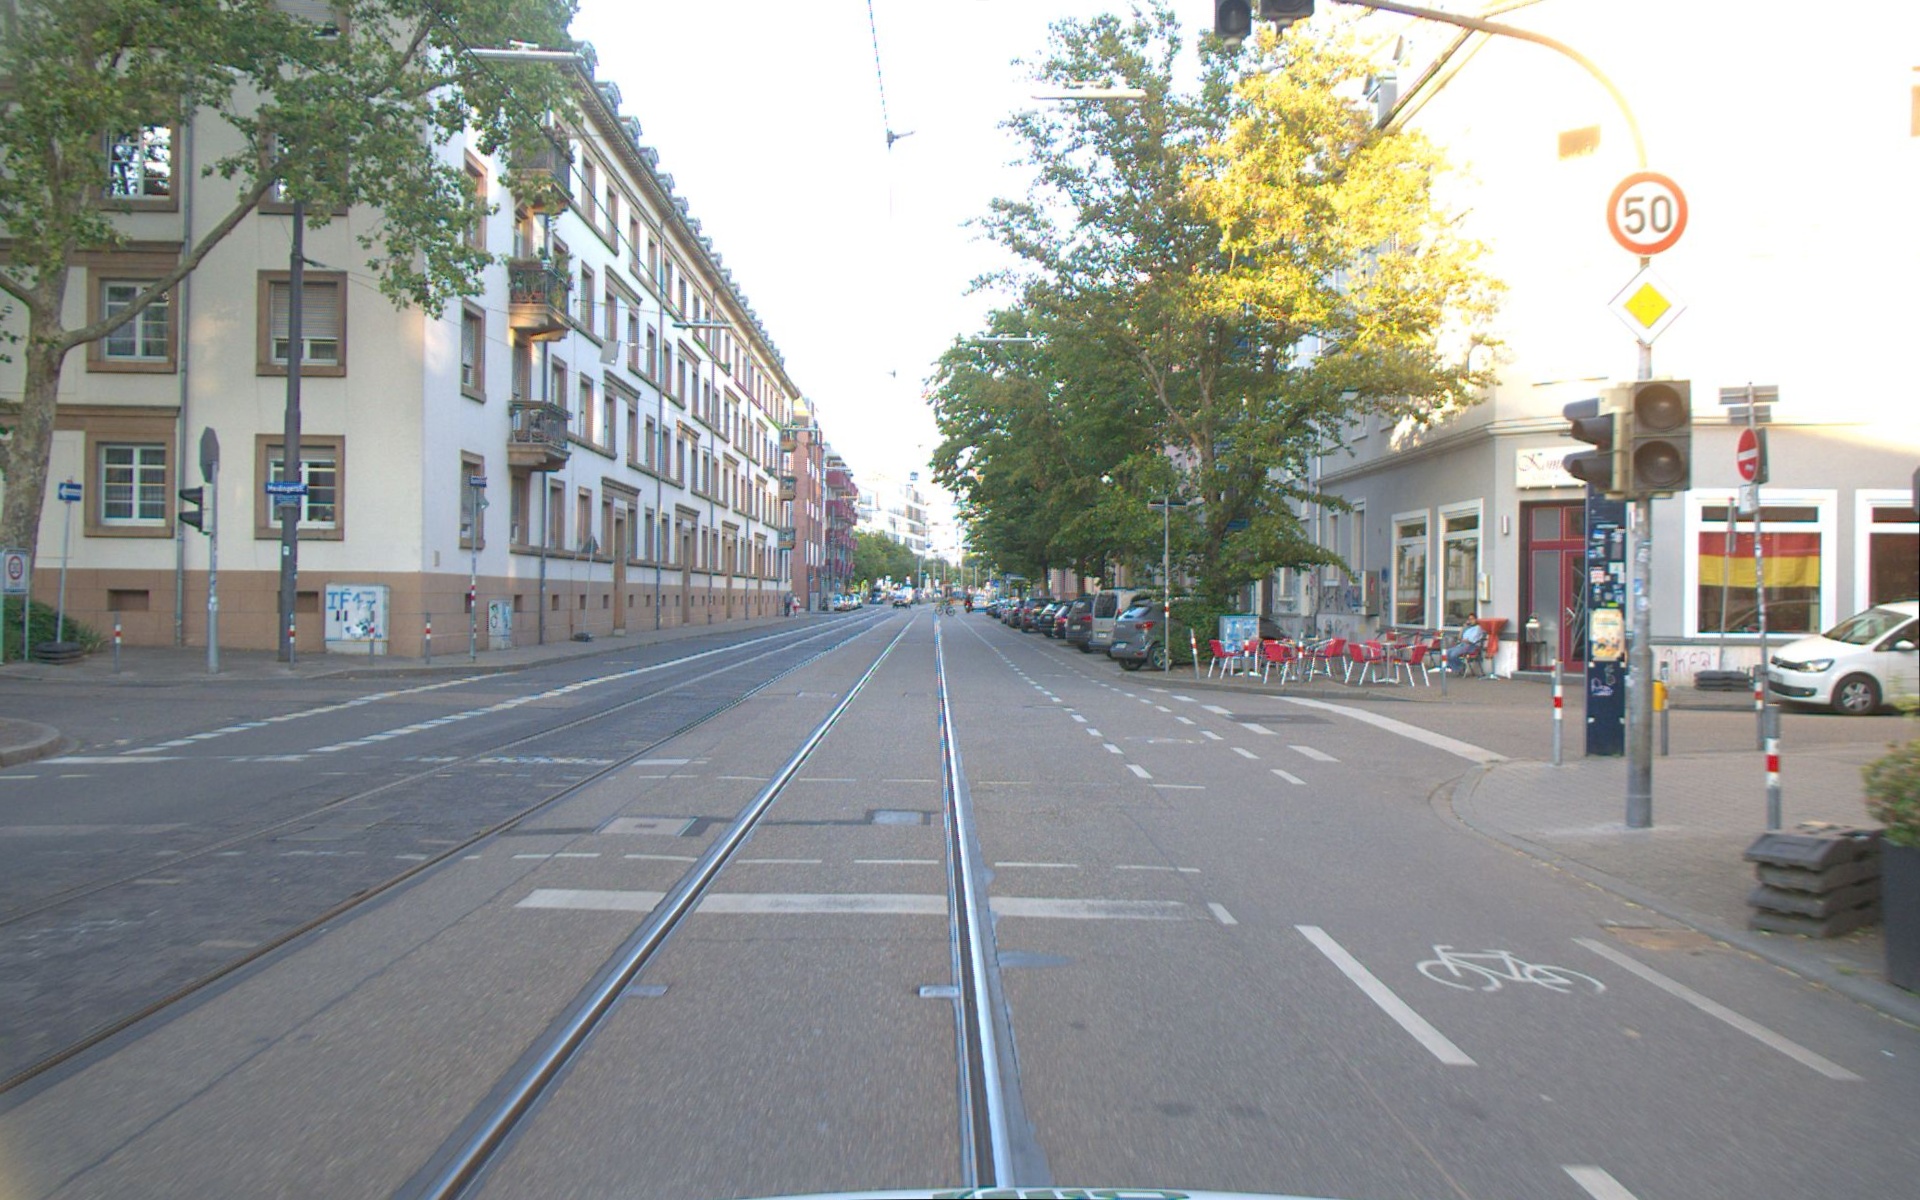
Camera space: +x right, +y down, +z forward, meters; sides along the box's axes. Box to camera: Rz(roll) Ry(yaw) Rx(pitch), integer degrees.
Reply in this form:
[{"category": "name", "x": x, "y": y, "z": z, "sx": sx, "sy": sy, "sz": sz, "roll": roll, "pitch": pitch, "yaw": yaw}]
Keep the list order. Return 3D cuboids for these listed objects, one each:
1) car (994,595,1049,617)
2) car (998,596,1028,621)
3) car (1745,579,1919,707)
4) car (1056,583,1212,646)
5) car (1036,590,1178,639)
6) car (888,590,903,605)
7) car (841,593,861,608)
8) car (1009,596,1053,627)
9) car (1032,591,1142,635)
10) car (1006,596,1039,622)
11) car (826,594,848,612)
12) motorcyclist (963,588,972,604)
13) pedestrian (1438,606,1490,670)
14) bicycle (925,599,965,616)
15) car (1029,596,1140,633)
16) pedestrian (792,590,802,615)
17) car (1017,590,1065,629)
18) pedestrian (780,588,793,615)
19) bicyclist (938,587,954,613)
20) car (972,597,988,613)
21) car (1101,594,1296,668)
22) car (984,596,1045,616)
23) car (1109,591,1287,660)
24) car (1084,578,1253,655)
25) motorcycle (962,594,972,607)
[{"category": "car", "x": 4.395, "y": 0.404, "z": 117.945, "sx": 3.512, "sy": 1.543, "sz": 1.729, "roll": -1, "pitch": 0, "yaw": -26}, {"category": "car", "x": 3.114, "y": 0.488, "z": 97.676, "sx": 1.586, "sy": 1.405, "sz": 3.775, "roll": -1, "pitch": 0, "yaw": -1}, {"category": "car", "x": 14.733, "y": 0.671, "z": 25.604, "sx": 4.231, "sy": 1.873, "sz": 1.908, "roll": 1, "pitch": 0, "yaw": 4}, {"category": "car", "x": 5.003, "y": 0.396, "z": 47.554, "sx": 4.121, "sy": 1.726, "sz": 1.834, "roll": -1, "pitch": 1, "yaw": -23}, {"category": "car", "x": 4.763, "y": 0.450, "z": 53.687, "sx": 4.310, "sy": 1.489, "sz": 1.711, "roll": -1, "pitch": 1, "yaw": -19}, {"category": "car", "x": -7.224, "y": -0.312, "z": 184.966, "sx": 1.528, "sy": 1.585, "sz": 3.753, "roll": -1, "pitch": 0, "yaw": -3}, {"category": "car", "x": -11.297, "y": 0.083, "z": 171.739, "sx": 1.656, "sy": 1.438, "sz": 4.677, "roll": 2, "pitch": 0, "yaw": 1}, {"category": "car", "x": 3.586, "y": 0.563, "z": 84.437, "sx": 1.953, "sy": 1.515, "sz": 5.035, "roll": 0, "pitch": 0, "yaw": 0}, {"category": "car", "x": 4.866, "y": 0.463, "z": 63.472, "sx": 3.900, "sy": 1.580, "sz": 1.711, "roll": -1, "pitch": 1, "yaw": -19}, {"category": "car", "x": 3.457, "y": 0.486, "z": 92.060, "sx": 1.743, "sy": 1.405, "sz": 4.691, "roll": -1, "pitch": 0, "yaw": 1}, {"category": "car", "x": -11.261, "y": 0.278, "z": 151.930, "sx": 1.682, "sy": 1.583, "sz": 4.203, "roll": 2, "pitch": 0, "yaw": 0}, {"category": "motorcyclist", "x": 0.672, "y": -0.387, "z": 154.259, "sx": 0.811, "sy": 1.499, "sz": 1.207, "roll": 0, "pitch": 0, "yaw": 1}, {"category": "pedestrian", "x": 9.510, "y": 0.711, "z": 31.201, "sx": 0.641, "sy": 1.175, "sz": 0.686, "roll": 1, "pitch": 0, "yaw": -25}, {"category": "bicycle", "x": -1.179, "y": 0.603, "z": 132.593, "sx": 3.112, "sy": 1.378, "sz": 0.955, "roll": 0, "pitch": 0, "yaw": -10}, {"category": "car", "x": 4.990, "y": 0.572, "z": 66.095, "sx": 4.198, "sy": 1.412, "sz": 1.607, "roll": 1, "pitch": 0, "yaw": -27}, {"category": "pedestrian", "x": -10.600, "y": 0.162, "z": 107.443, "sx": 0.579, "sy": 1.638, "sz": 0.811, "roll": 1, "pitch": 0, "yaw": -3}, {"category": "car", "x": 3.667, "y": 0.409, "z": 75.279, "sx": 1.841, "sy": 1.646, "sz": 4.261, "roll": -2, "pitch": 0, "yaw": -1}, {"category": "pedestrian", "x": -11.302, "y": 0.088, "z": 107.516, "sx": 0.779, "sy": 1.731, "sz": 0.981, "roll": 1, "pitch": 0, "yaw": -3}, {"category": "bicyclist", "x": -1.115, "y": -0.025, "z": 132.596, "sx": 1.191, "sy": 2.049, "sz": 0.945, "roll": 0, "pitch": 0, "yaw": -9}, {"category": "car", "x": 2.086, "y": 0.490, "z": 172.629, "sx": 1.681, "sy": 1.583, "sz": 4.204, "roll": 1, "pitch": 0, "yaw": 1}, {"category": "car", "x": 5.282, "y": 0.667, "z": 36.722, "sx": 3.929, "sy": 1.567, "sz": 1.769, "roll": 1, "pitch": 0, "yaw": -21}, {"category": "car", "x": 4.256, "y": 0.450, "z": 129.010, "sx": 4.547, "sy": 1.482, "sz": 1.697, "roll": -1, "pitch": 0, "yaw": -26}, {"category": "car", "x": 5.729, "y": 0.608, "z": 39.821, "sx": 3.932, "sy": 1.594, "sz": 1.708, "roll": 1, "pitch": 0, "yaw": -23}, {"category": "car", "x": 5.343, "y": 0.385, "z": 42.367, "sx": 3.932, "sy": 1.847, "sz": 1.812, "roll": -1, "pitch": 1, "yaw": -23}, {"category": "motorcycle", "x": 0.671, "y": 0.046, "z": 154.232, "sx": 0.811, "sy": 1.261, "sz": 2.491, "roll": 0, "pitch": 0, "yaw": 1}]
